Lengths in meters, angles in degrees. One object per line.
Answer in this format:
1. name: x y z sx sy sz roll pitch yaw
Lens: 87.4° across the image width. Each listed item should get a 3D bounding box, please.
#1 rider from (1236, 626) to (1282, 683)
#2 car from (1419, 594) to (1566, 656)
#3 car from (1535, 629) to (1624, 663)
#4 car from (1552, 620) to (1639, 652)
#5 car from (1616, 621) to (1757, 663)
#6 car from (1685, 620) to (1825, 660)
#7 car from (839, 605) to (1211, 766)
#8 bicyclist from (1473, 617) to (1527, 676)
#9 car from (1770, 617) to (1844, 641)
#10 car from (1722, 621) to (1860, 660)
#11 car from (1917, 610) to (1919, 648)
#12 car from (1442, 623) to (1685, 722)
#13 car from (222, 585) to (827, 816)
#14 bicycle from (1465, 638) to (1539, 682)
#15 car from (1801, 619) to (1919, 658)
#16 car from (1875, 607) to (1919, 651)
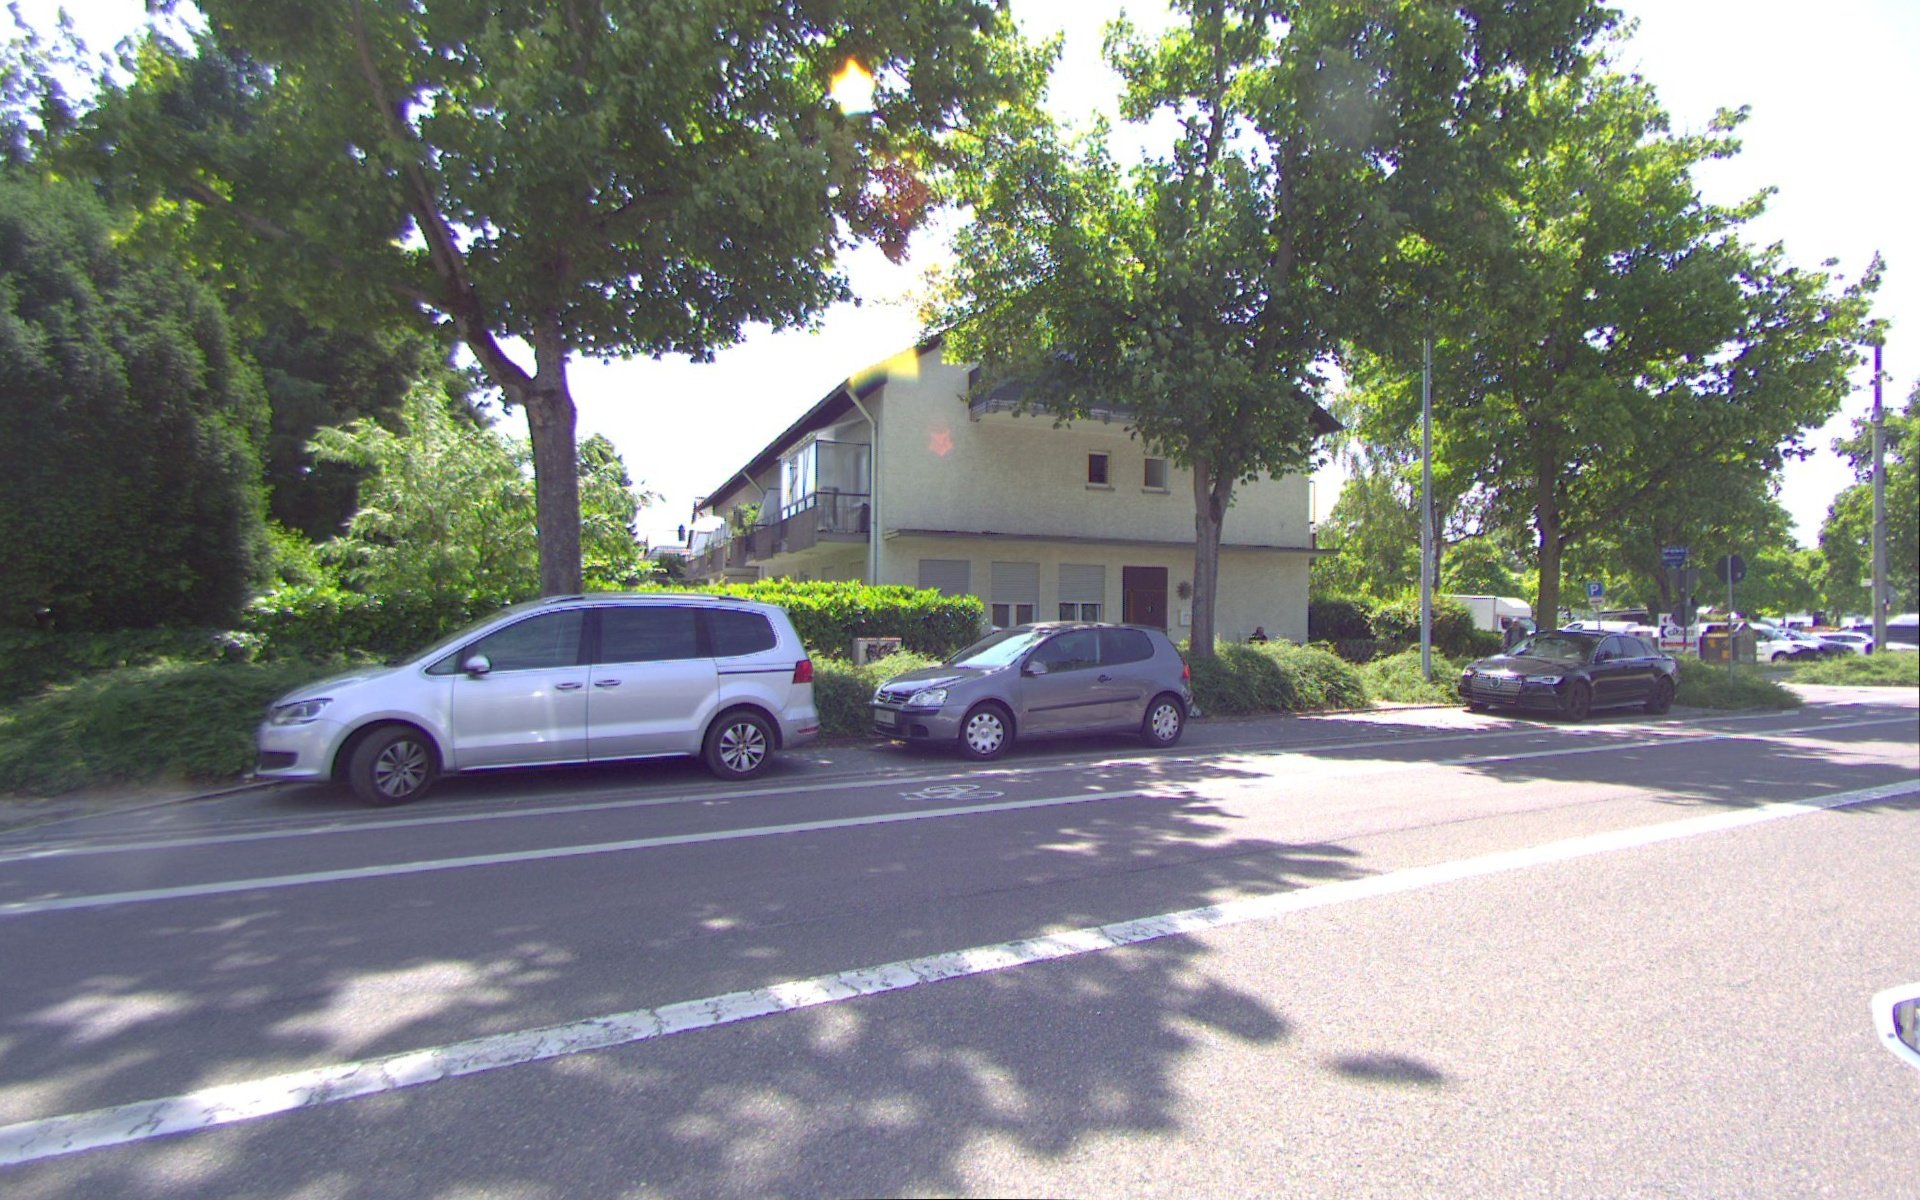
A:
1. rider: 7.539 1.360 25.348 0.800 1.392 0.824 1 -1 -22
2. car: 28.936 1.295 54.872 2.337 3.005 6.816 2 1 -30
3. car: 35.795 2.645 58.074 1.799 1.675 3.957 2 1 -37
4. car: 37.608 2.113 59.508 1.799 1.675 3.957 2 1 -37
5. car: 29.544 1.675 40.973 1.891 1.606 4.321 1 -1 -31
6. car: 33.837 1.686 42.887 1.886 1.606 4.332 1 -1 -24
7. car: 0.824 0.899 11.980 4.132 1.585 1.809 1 1 -31
8. bicyclist: 13.485 1.156 25.084 0.817 1.392 0.806 2 1 -27
9. car: 66.517 2.252 78.934 1.795 1.638 4.000 2 1 -30
10. car: 36.520 1.737 44.298 1.886 1.606 4.333 1 -1 -23
11. car: 59.038 1.809 57.915 2.349 2.274 5.076 2 1 -28
12. car: 10.730 1.195 17.786 4.397 1.496 1.809 1 1 -31
13. car: -3.790 0.755 9.327 4.725 1.687 1.863 1 0 -31
14. bicycle: 13.564 1.498 25.117 1.805 1.043 0.698 2 1 -27
15. car: 43.343 1.812 48.360 1.975 1.769 3.968 1 -1 -30
16. car: 52.428 1.642 53.415 2.349 2.274 5.076 2 1 -28
